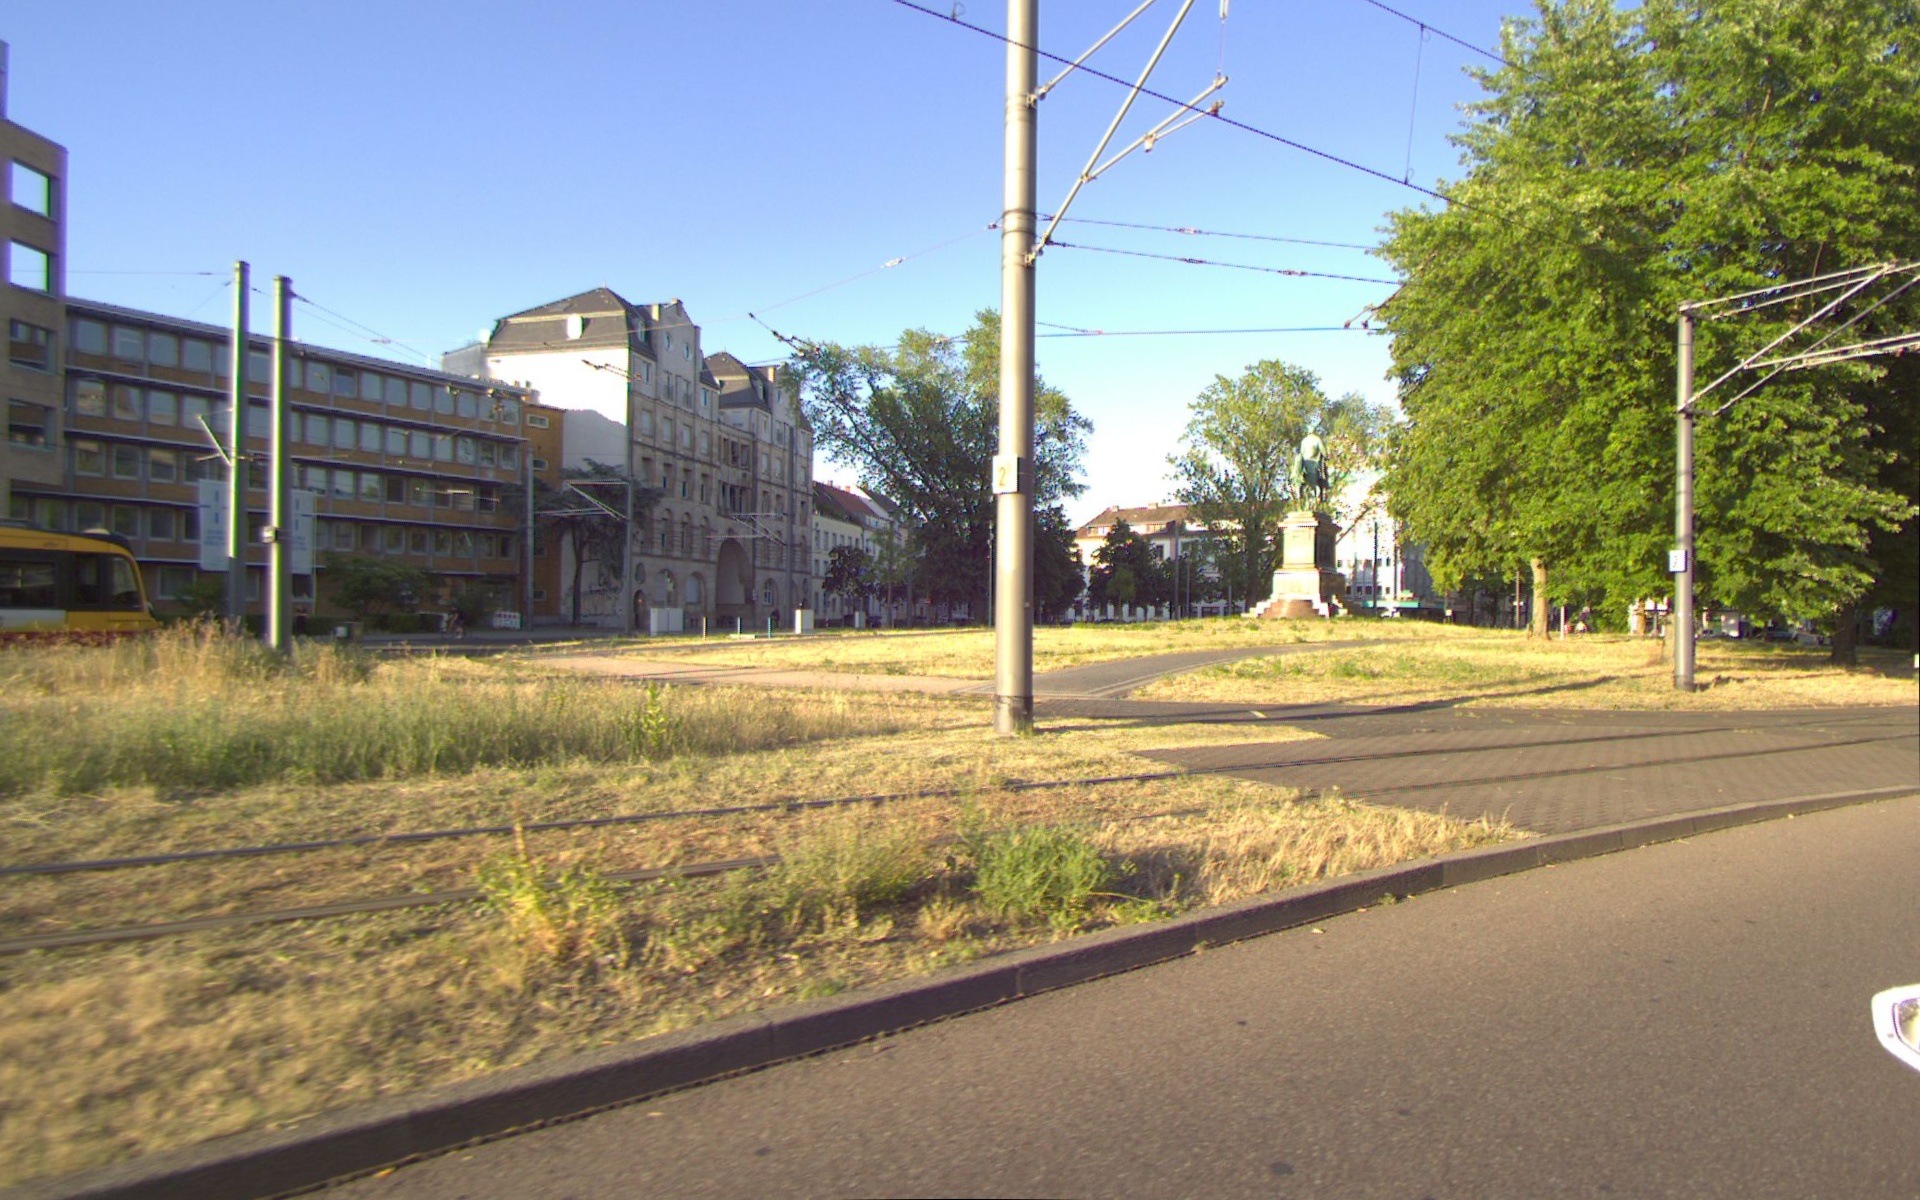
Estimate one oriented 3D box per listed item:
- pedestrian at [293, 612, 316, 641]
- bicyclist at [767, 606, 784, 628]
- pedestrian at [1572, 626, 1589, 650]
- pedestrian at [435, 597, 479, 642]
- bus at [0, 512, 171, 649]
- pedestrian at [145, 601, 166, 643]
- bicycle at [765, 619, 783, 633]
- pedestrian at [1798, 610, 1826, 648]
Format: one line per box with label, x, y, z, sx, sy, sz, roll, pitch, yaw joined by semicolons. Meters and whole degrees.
pedestrian;-30.075;1.209;46.074;0.557;1.342;0.682;1;0;32
bicyclist;-14.544;1.301;79.156;0.934;1.713;0.898;1;0;14
pedestrian;51.476;3.139;83.324;0.984;1.865;0.857;-1;1;-29
pedestrian;-24.465;0.939;48.836;1.044;2.122;1.625;1;0;42
bus;-27.280;-0.568;23.285;3.697;3.407;13.673;1;0;34
pedestrian;-33.117;0.906;41.353;0.614;1.715;0.524;1;0;-44
bicycle;-14.596;2.038;78.868;0.463;1.024;2.202;1;0;14
pedestrian;39.841;1.361;46.963;0.814;1.721;0.740;3;-1;-29
